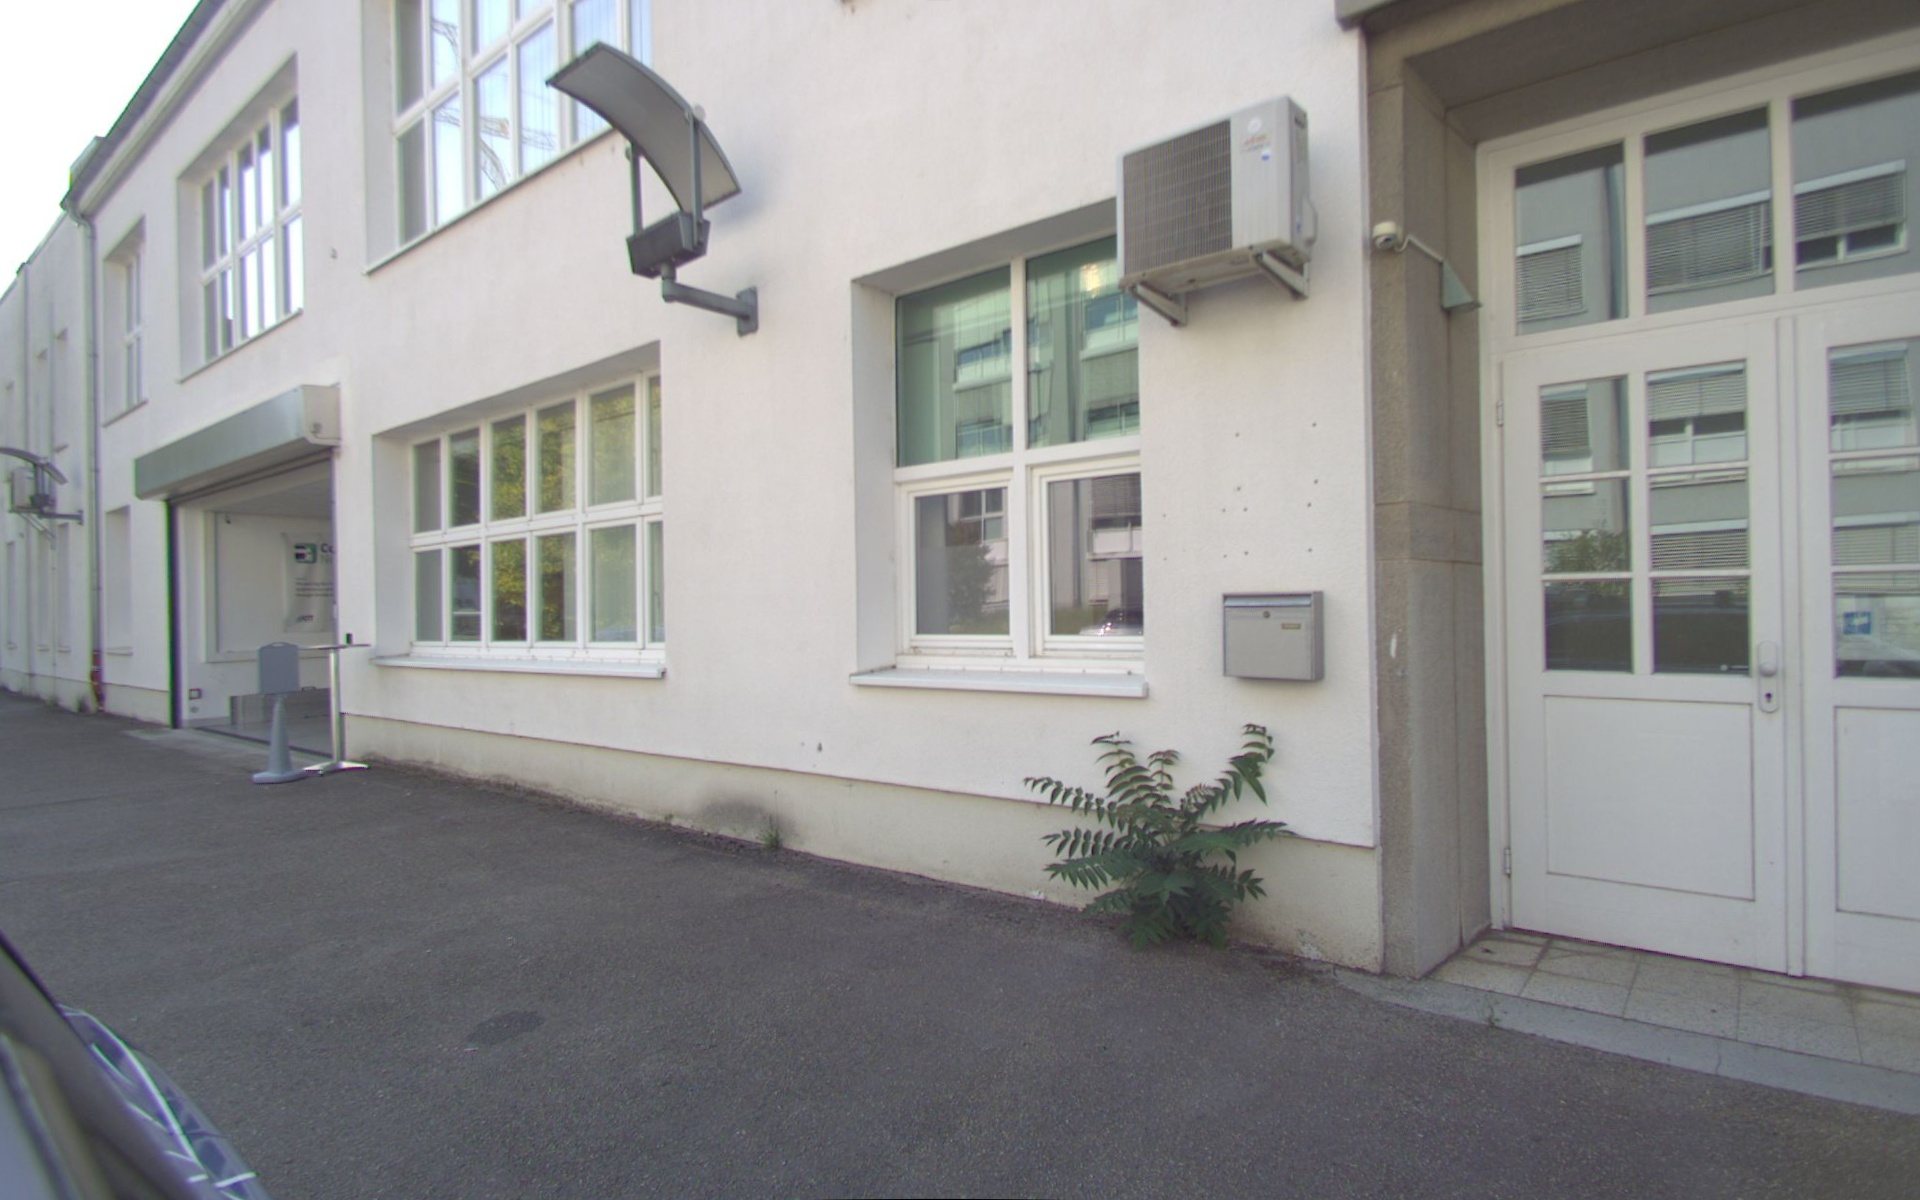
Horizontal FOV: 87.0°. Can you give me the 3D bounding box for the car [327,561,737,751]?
[{"bbox_3d":[-5.574,0.589,13.731,2.054,2.108,4.700,-1,0,40],"label":"car"}]
